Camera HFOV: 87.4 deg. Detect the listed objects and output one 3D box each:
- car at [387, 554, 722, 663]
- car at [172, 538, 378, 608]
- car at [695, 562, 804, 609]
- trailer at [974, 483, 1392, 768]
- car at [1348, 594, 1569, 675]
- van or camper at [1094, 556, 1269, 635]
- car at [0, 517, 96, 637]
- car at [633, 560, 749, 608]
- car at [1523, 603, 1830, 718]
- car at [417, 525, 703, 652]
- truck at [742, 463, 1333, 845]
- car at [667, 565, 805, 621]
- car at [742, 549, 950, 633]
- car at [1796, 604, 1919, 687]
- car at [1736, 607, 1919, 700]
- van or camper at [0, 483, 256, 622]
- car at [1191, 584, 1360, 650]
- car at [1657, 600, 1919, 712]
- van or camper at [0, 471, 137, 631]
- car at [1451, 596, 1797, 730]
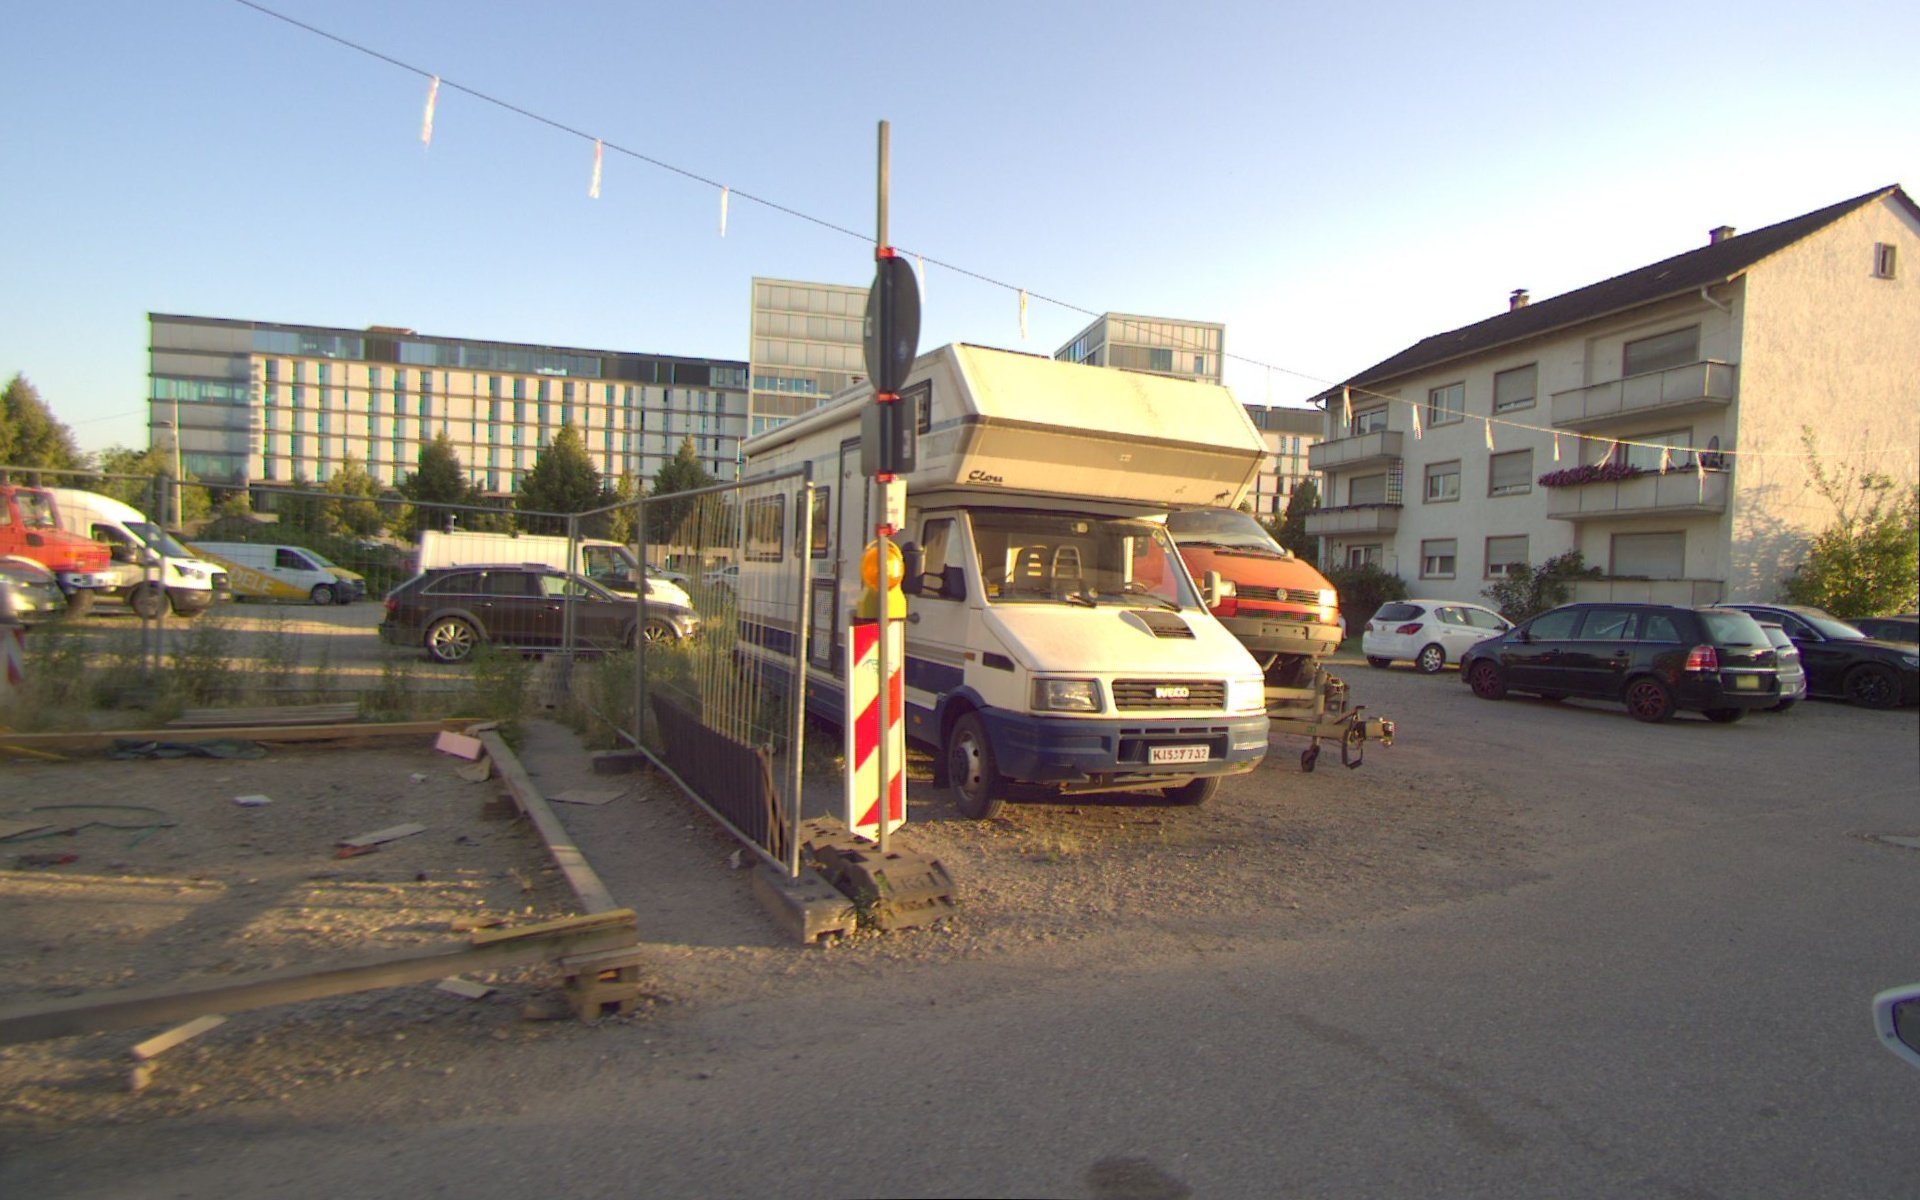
[{"bbox_3d":[-6.377,0.081,16.257,4.748,1.589,1.841,0,2,-20],"label":"car"},{"bbox_3d":[-21.966,-0.840,32.458,5.021,1.962,2.051,2,1,-15],"label":"car"},{"bbox_3d":[-7.909,-0.556,37.635,3.873,1.560,1.658,2,1,-15],"label":"car"},{"bbox_3d":[2.123,0.179,11.276,2.104,2.465,4.781,3,1,-22],"label":"trailer"},{"bbox_3d":[10.646,0.729,21.507,4.085,1.543,1.842,2,1,-18],"label":"car"},{"bbox_3d":[7.612,-0.152,34.580,5.587,2.425,1.844,2,1,-14],"label":"van or camper"},{"bbox_3d":[-16.982,-0.443,16.320,4.007,1.903,1.840,2,1,-22],"label":"car"},{"bbox_3d":[-11.869,-0.707,44.552,4.751,1.867,1.681,2,1,-10],"label":"car"},{"bbox_3d":[12.005,0.920,17.168,1.781,1.541,3.920,0,3,-20],"label":"car"},{"bbox_3d":[-7.323,-0.238,18.855,4.745,2.178,1.842,0,2,-19],"label":"car"},{"bbox_3d":[0.025,0.240,8.655,2.325,2.070,5.991,2,1,-26],"label":"truck"},{"bbox_3d":[-6.958,-0.218,31.197,3.884,1.543,1.674,2,1,-24],"label":"car"},{"bbox_3d":[-2.378,-0.170,20.833,3.884,1.543,1.838,2,1,-24],"label":"car"},{"bbox_3d":[20.047,0.966,20.776,1.618,1.601,3.920,1,1,-20],"label":"car"},{"bbox_3d":[17.314,1.008,18.956,1.618,1.536,3.920,3,1,-20],"label":"car"},{"bbox_3d":[-19.245,-1.026,22.098,5.655,2.744,2.202,2,1,-17],"label":"van or camper"},{"bbox_3d":[8.987,0.476,28.718,4.243,1.653,1.844,2,1,-14],"label":"car"},{"bbox_3d":[14.899,0.884,17.570,1.797,1.649,4.075,1,1,-26],"label":"car"},{"bbox_3d":[-18.808,-0.962,18.099,5.727,2.807,2.247,2,1,-28],"label":"van or camper"},{"bbox_3d":[9.748,0.836,15.164,1.821,1.641,4.031,2,1,-20],"label":"car"}]
